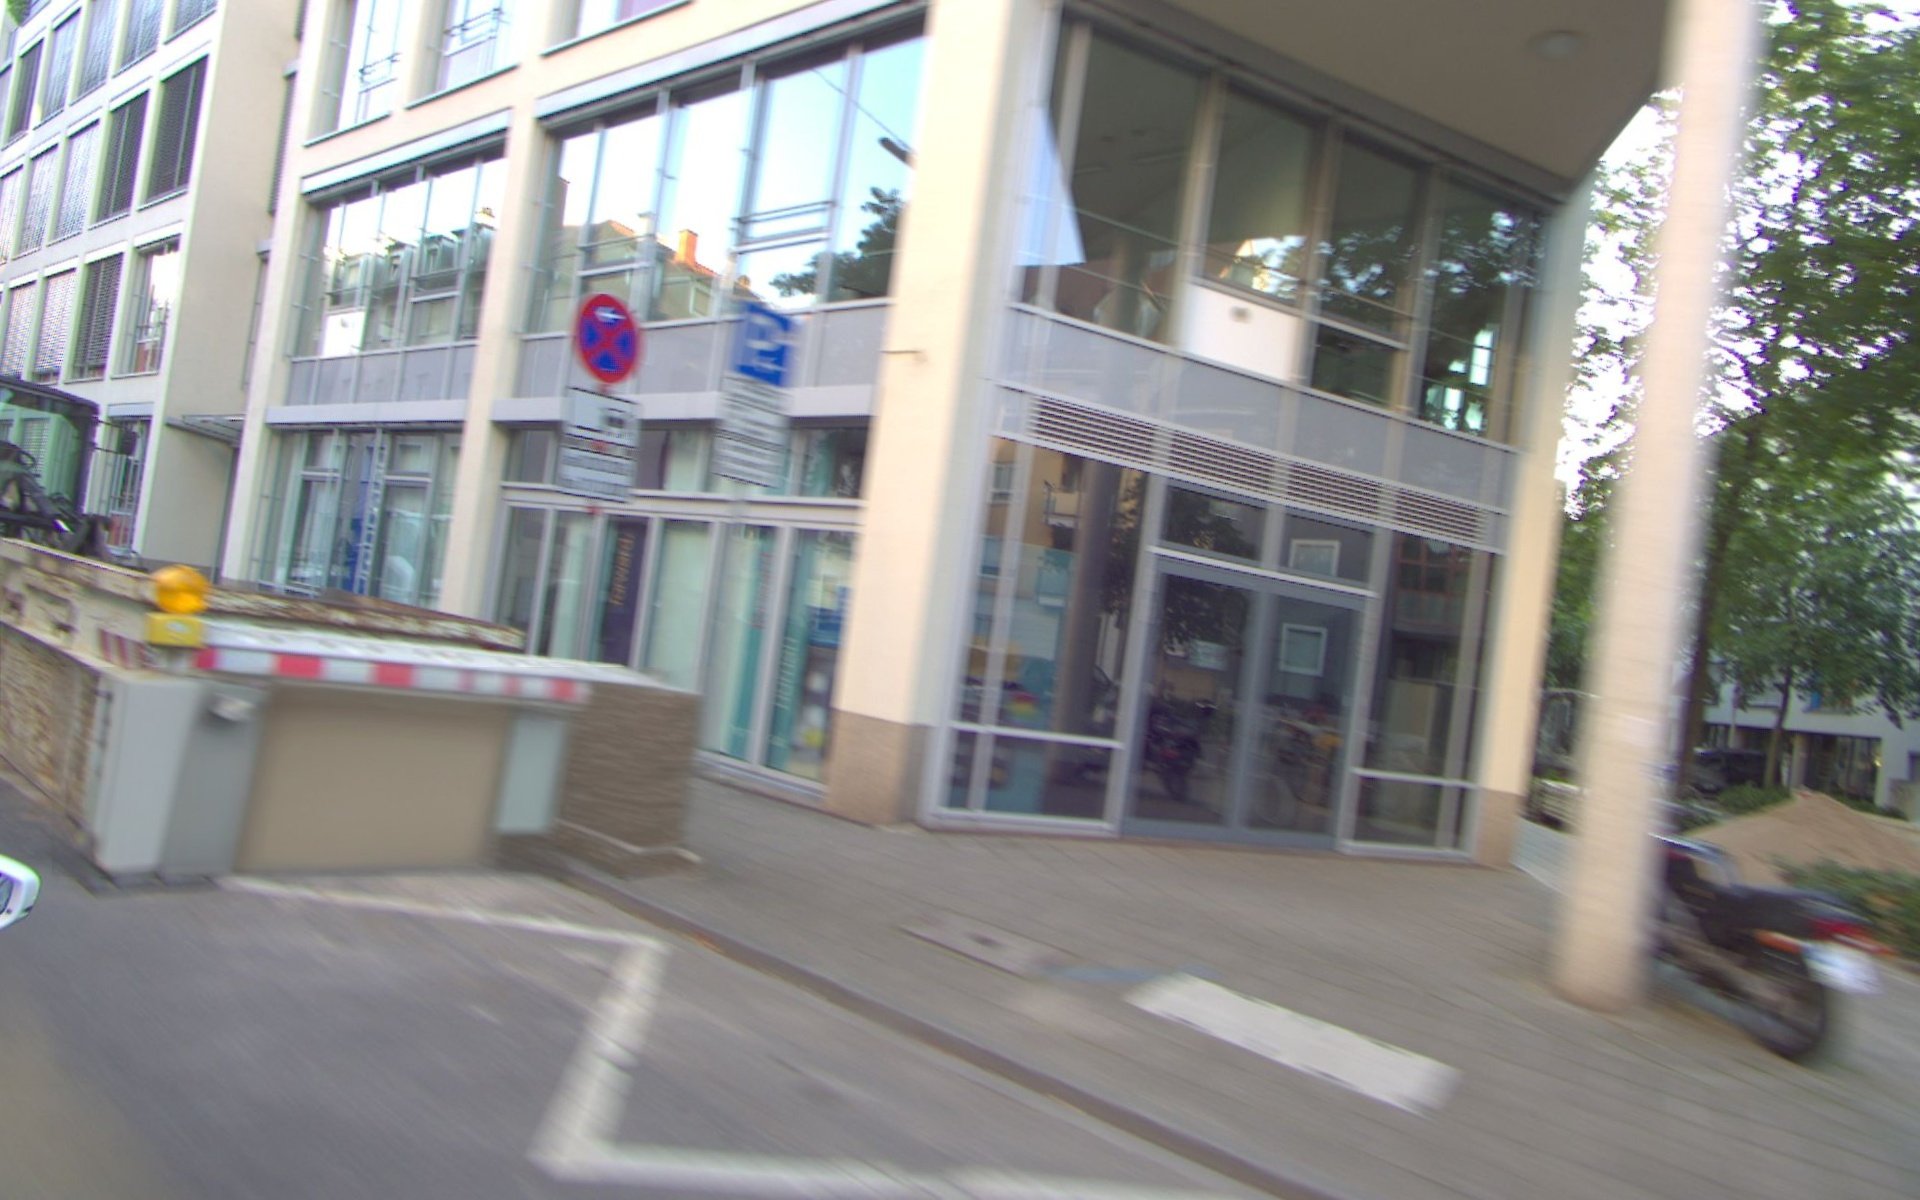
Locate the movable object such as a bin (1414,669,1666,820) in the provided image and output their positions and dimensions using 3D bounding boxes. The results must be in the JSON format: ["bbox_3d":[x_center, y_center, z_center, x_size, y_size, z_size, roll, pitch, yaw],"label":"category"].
[{"bbox_3d":[11.785,2.864,20.789,3.607,2.359,2.587,8,-1,11],"label":"movable object such as a bin"}]

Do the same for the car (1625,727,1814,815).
[{"bbox_3d":[26.864,6.020,35.741,4.893,2.111,1.740,8,-1,13],"label":"car"}]

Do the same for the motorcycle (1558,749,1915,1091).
[{"bbox_3d":[4.265,1.651,5.779,0.604,1.289,2.127,8,-1,12],"label":"motorcycle"}]

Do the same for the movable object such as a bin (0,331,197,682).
[{"bbox_3d":[-8.939,-0.892,9.252,4.048,2.665,1.797,7,-1,37],"label":"movable object such as a bin"}]

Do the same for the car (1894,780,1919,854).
[{"bbox_3d":[24.125,5.282,22.495,4.367,1.609,1.631,8,-1,15],"label":"car"}]
